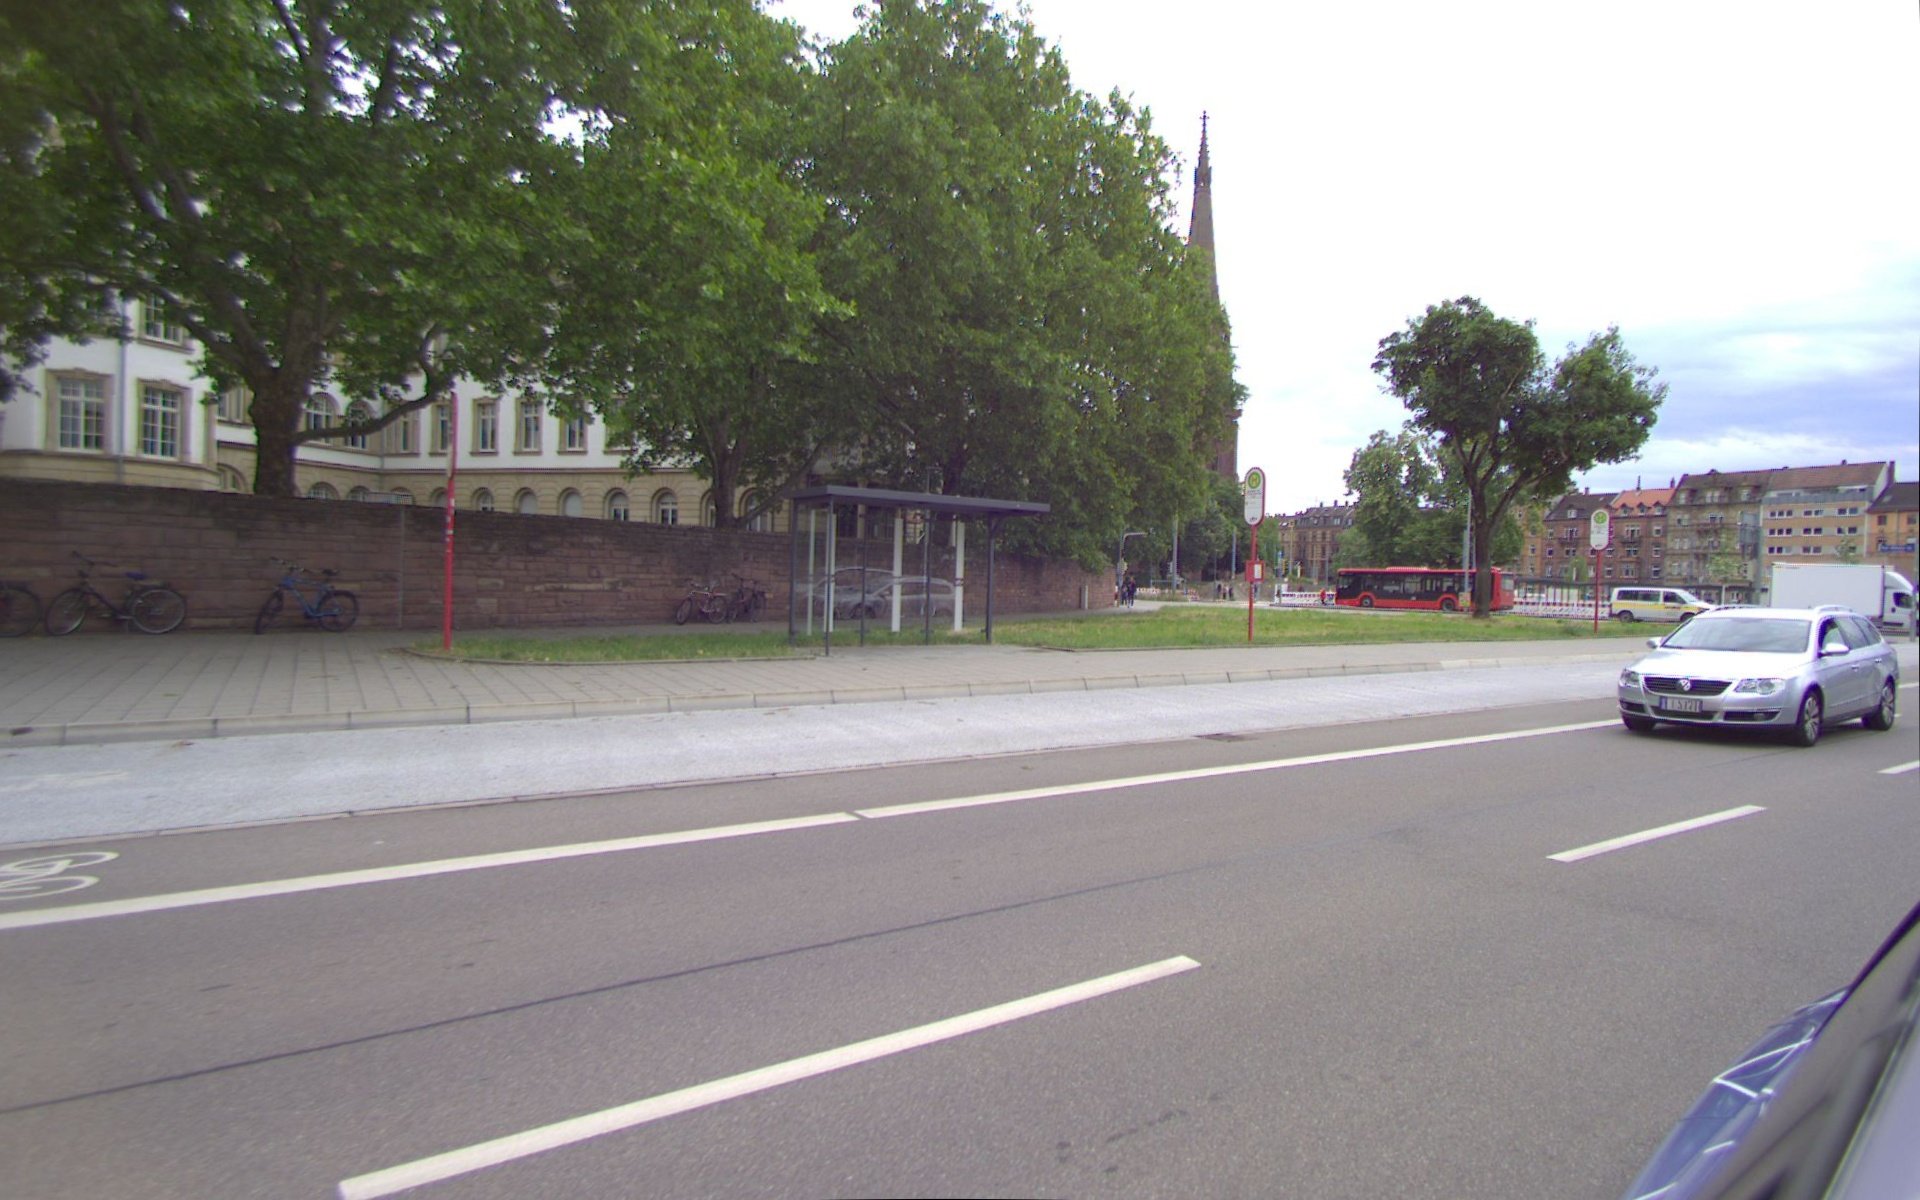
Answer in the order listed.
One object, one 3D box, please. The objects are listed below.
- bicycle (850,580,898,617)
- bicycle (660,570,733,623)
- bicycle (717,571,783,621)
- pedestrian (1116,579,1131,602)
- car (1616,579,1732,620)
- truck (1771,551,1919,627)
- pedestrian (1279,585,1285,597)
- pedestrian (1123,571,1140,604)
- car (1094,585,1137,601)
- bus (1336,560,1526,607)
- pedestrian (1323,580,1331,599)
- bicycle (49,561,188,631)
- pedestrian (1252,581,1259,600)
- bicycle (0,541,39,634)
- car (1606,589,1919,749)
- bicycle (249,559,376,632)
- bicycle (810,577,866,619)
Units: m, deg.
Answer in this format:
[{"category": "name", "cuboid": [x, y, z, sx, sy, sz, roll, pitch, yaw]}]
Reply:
[{"category": "bicycle", "cuboid": [-2.463, -0.061, 29.192, 0.546, 1.004, 1.622, 4, 2, 27]}, {"category": "bicycle", "cuboid": [-6.077, -0.088, 23.417, 0.591, 1.150, 1.695, 4, 2, 30]}, {"category": "bicycle", "cuboid": [-5.140, -0.106, 24.855, 0.591, 1.143, 1.695, 4, 2, 30]}, {"category": "pedestrian", "cuboid": [11.957, -0.672, 73.849, 0.678, 1.659, 0.875, 2, 0, -19]}, {"category": "car", "cuboid": [38.396, -0.072, 54.535, 1.885, 1.942, 4.714, -2, 3, -37]}, {"category": "truck", "cuboid": [43.248, -0.562, 48.189, 2.515, 3.453, 6.850, -1, 2, -38]}, {"category": "pedestrian", "cuboid": [32.583, -0.878, 102.463, 0.365, 1.210, 0.374, 2, 2, -34]}, {"category": "pedestrian", "cuboid": [9.514, -0.691, 56.164, 0.745, 1.756, 0.822, 3, 2, 7]}, {"category": "car", "cuboid": [13.439, -0.630, 87.599, 3.528, 1.170, 1.424, 5, 3, 44]}, {"category": "bus", "cuboid": [32.666, -1.253, 70.970, 2.883, 2.944, 12.093, 1, 1, -37]}, {"category": "pedestrian", "cuboid": [28.782, -0.797, 79.371, 0.366, 1.484, 0.372, 2, 2, -34]}, {"category": "bicycle", "cuboid": [-12.277, -0.063, 14.795, 0.415, 0.954, 1.504, 4, 3, 38]}, {"category": "pedestrian", "cuboid": [27.769, -0.908, 95.083, 0.365, 1.726, 0.374, 2, 2, -34]}, {"category": "bicycle", "cuboid": [-13.354, -0.180, 13.424, 0.498, 1.236, 1.604, 4, 3, 38]}, {"category": "car", "cuboid": [9.713, 0.668, 12.097, 4.441, 1.570, 1.831, -1, 1, -35]}, {"category": "bicycle", "cuboid": [-10.575, -0.085, 16.583, 0.595, 1.118, 1.633, 4, 3, 36]}, {"category": "bicycle", "cuboid": [-3.336, -0.073, 27.724, 0.591, 1.072, 1.695, 4, 3, 30]}]
